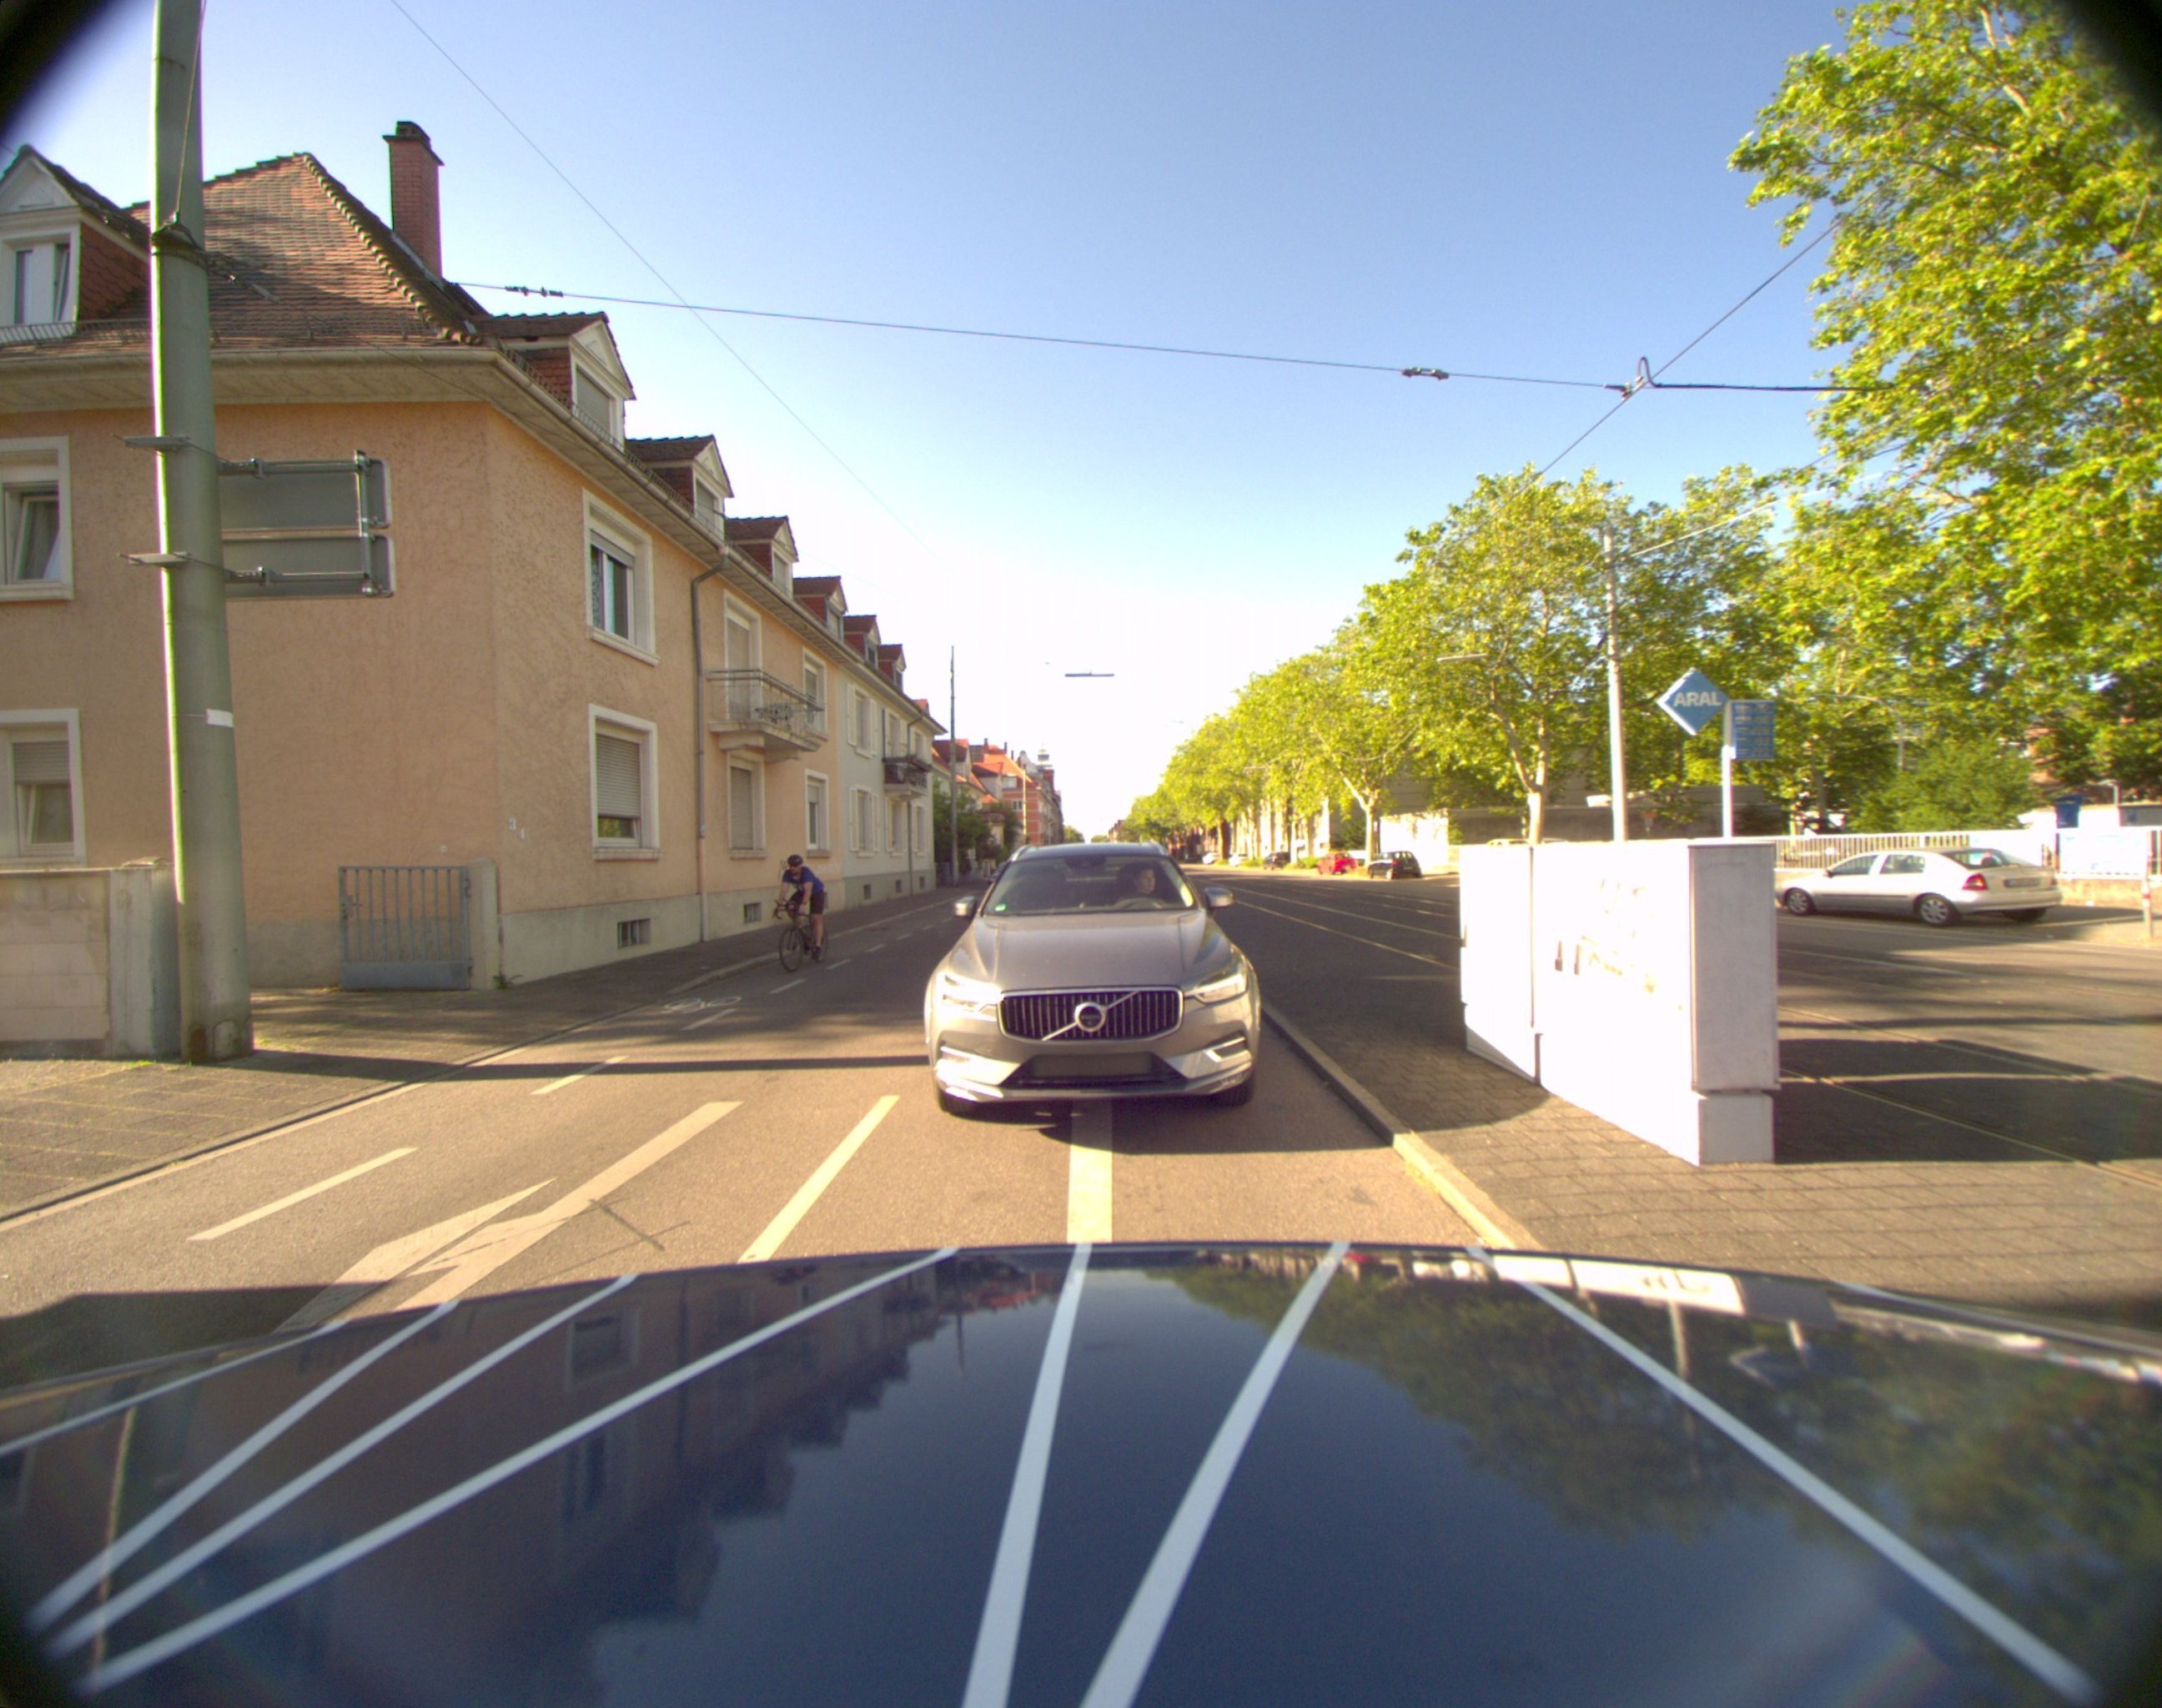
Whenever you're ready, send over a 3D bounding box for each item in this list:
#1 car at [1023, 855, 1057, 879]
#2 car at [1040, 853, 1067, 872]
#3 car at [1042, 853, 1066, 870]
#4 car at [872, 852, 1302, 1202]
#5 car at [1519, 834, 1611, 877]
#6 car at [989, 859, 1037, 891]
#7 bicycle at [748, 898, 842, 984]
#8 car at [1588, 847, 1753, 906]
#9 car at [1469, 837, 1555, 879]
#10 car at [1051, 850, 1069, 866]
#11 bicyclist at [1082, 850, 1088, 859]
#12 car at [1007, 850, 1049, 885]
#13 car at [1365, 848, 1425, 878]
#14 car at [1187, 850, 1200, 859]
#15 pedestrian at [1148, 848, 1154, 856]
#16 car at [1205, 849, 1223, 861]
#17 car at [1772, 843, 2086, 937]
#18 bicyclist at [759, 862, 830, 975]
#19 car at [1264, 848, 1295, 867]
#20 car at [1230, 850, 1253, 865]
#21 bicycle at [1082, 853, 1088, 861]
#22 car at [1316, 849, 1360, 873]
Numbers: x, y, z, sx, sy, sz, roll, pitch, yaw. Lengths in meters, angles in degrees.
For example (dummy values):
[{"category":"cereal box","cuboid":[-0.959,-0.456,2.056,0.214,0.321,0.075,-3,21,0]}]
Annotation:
[{"category":"car","cuboid":[-2.574,0.814,48.500,1.867,1.399,4.078,-1,0,1]},{"category":"car","cuboid":[-2.128,0.668,60.059,1.867,1.399,4.078,-1,0,1]},{"category":"car","cuboid":[-2.349,0.621,66.363,1.867,1.399,4.078,-1,0,1]},{"category":"car","cuboid":[0.060,0.817,5.933,1.998,1.609,4.697,-1,0,1]},{"category":"car","cuboid":[24.164,0.082,38.102,1.999,2.002,3.999,-1,0,-1]},{"category":"car","cuboid":[-3.232,0.965,37.078,1.867,1.399,4.424,-1,0,1]},{"category":"bicycle","cuboid":[-4.263,1.269,11.477,0.550,1.056,1.795,-3,1,5]},{"category":"car","cuboid":[16.483,0.571,21.516,1.745,1.389,3.858,-4,0,3]},{"category":"car","cuboid":[21.816,0.171,38.642,1.999,2.002,3.999,-1,0,-1]},{"category":"car","cuboid":[-2.320,0.432,85.452,1.867,1.653,4.078,-1,0,1]},{"category":"bicyclist","cuboid":[0.683,0.159,130.124,1.054,1.496,1.250,-1,1,1]},{"category":"car","cuboid":[-2.909,0.702,42.832,1.867,1.778,5.297,-1,0,1]},{"category":"car","cuboid":[16.896,0.460,41.044,1.758,1.449,3.858,-3,0,3]},{"category":"car","cuboid":[18.513,0.059,125.295,1.758,1.475,3.858,-3,0,3]},{"category":"pedestrian","cuboid":[19.599,-0.544,213.138,1.686,2.002,1.761,-1,1,1]},{"category":"car","cuboid":[17.677,0.165,100.939,1.758,1.475,3.858,-3,0,3]},{"category":"car","cuboid":[16.242,0.610,14.909,1.847,1.477,3.858,-4,0,2]},{"category":"bicyclist","cuboid":[-4.283,0.931,11.412,0.562,1.607,1.017,-1,1,7]},{"category":"car","cuboid":[17.178,0.295,65.917,1.758,1.536,3.858,-3,0,3]},{"category":"car","cuboid":[17.583,0.357,83.345,1.758,1.475,3.858,-3,0,3]},{"category":"bicycle","cuboid":[0.706,0.470,130.023,1.054,1.262,3.914,-1,0,1]},{"category":"car","cuboid":[16.908,0.453,50.186,1.717,1.421,3.858,-3,0,3]}]
